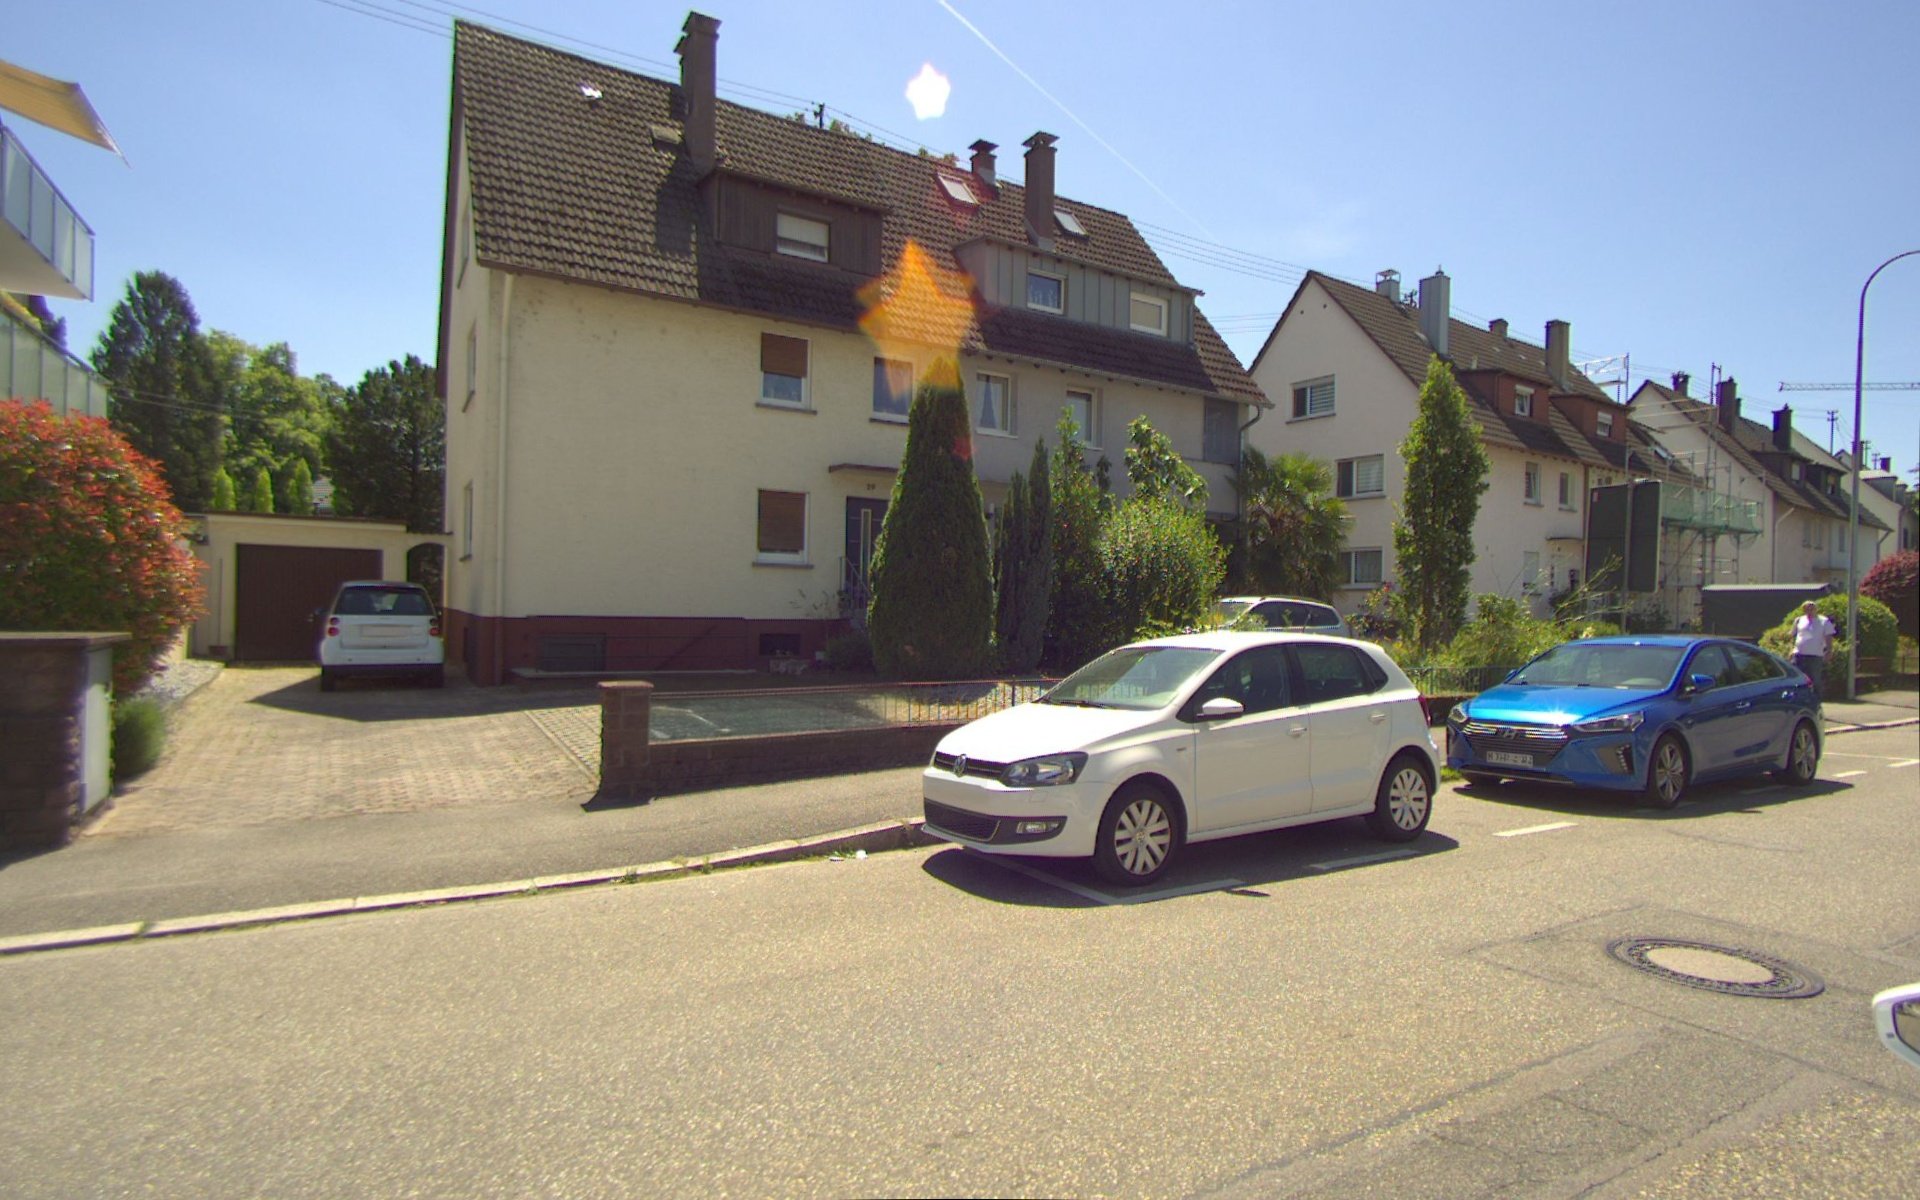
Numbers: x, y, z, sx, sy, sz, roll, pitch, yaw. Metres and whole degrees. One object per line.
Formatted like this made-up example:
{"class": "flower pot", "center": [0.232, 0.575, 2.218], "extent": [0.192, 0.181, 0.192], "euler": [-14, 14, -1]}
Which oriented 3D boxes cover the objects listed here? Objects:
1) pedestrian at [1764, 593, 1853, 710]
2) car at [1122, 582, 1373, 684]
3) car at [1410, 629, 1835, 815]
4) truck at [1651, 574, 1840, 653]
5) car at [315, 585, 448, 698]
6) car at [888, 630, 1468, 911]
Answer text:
{"class": "pedestrian", "center": [14.660, 0.885, 17.356], "extent": [1.006, 1.915, 0.686], "euler": [2, 4, -27]}
{"class": "car", "center": [5.142, 0.601, 17.829], "extent": [4.313, 1.528, 1.760], "euler": [4, 0, -31]}
{"class": "car", "center": [6.519, 1.023, 9.776], "extent": [4.312, 1.457, 1.760], "euler": [1, -2, -31]}
{"class": "truck", "center": [21.115, 0.365, 27.126], "extent": [1.530, 1.963, 3.745], "euler": [0, -1, -33]}
{"class": "car", "center": [-9.165, 0.547, 15.885], "extent": [1.628, 1.557, 3.764], "euler": [0, 1, -31]}
{"class": "car", "center": [1.593, 0.949, 6.927], "extent": [3.895, 1.442, 1.571], "euler": [1, -2, -31]}
